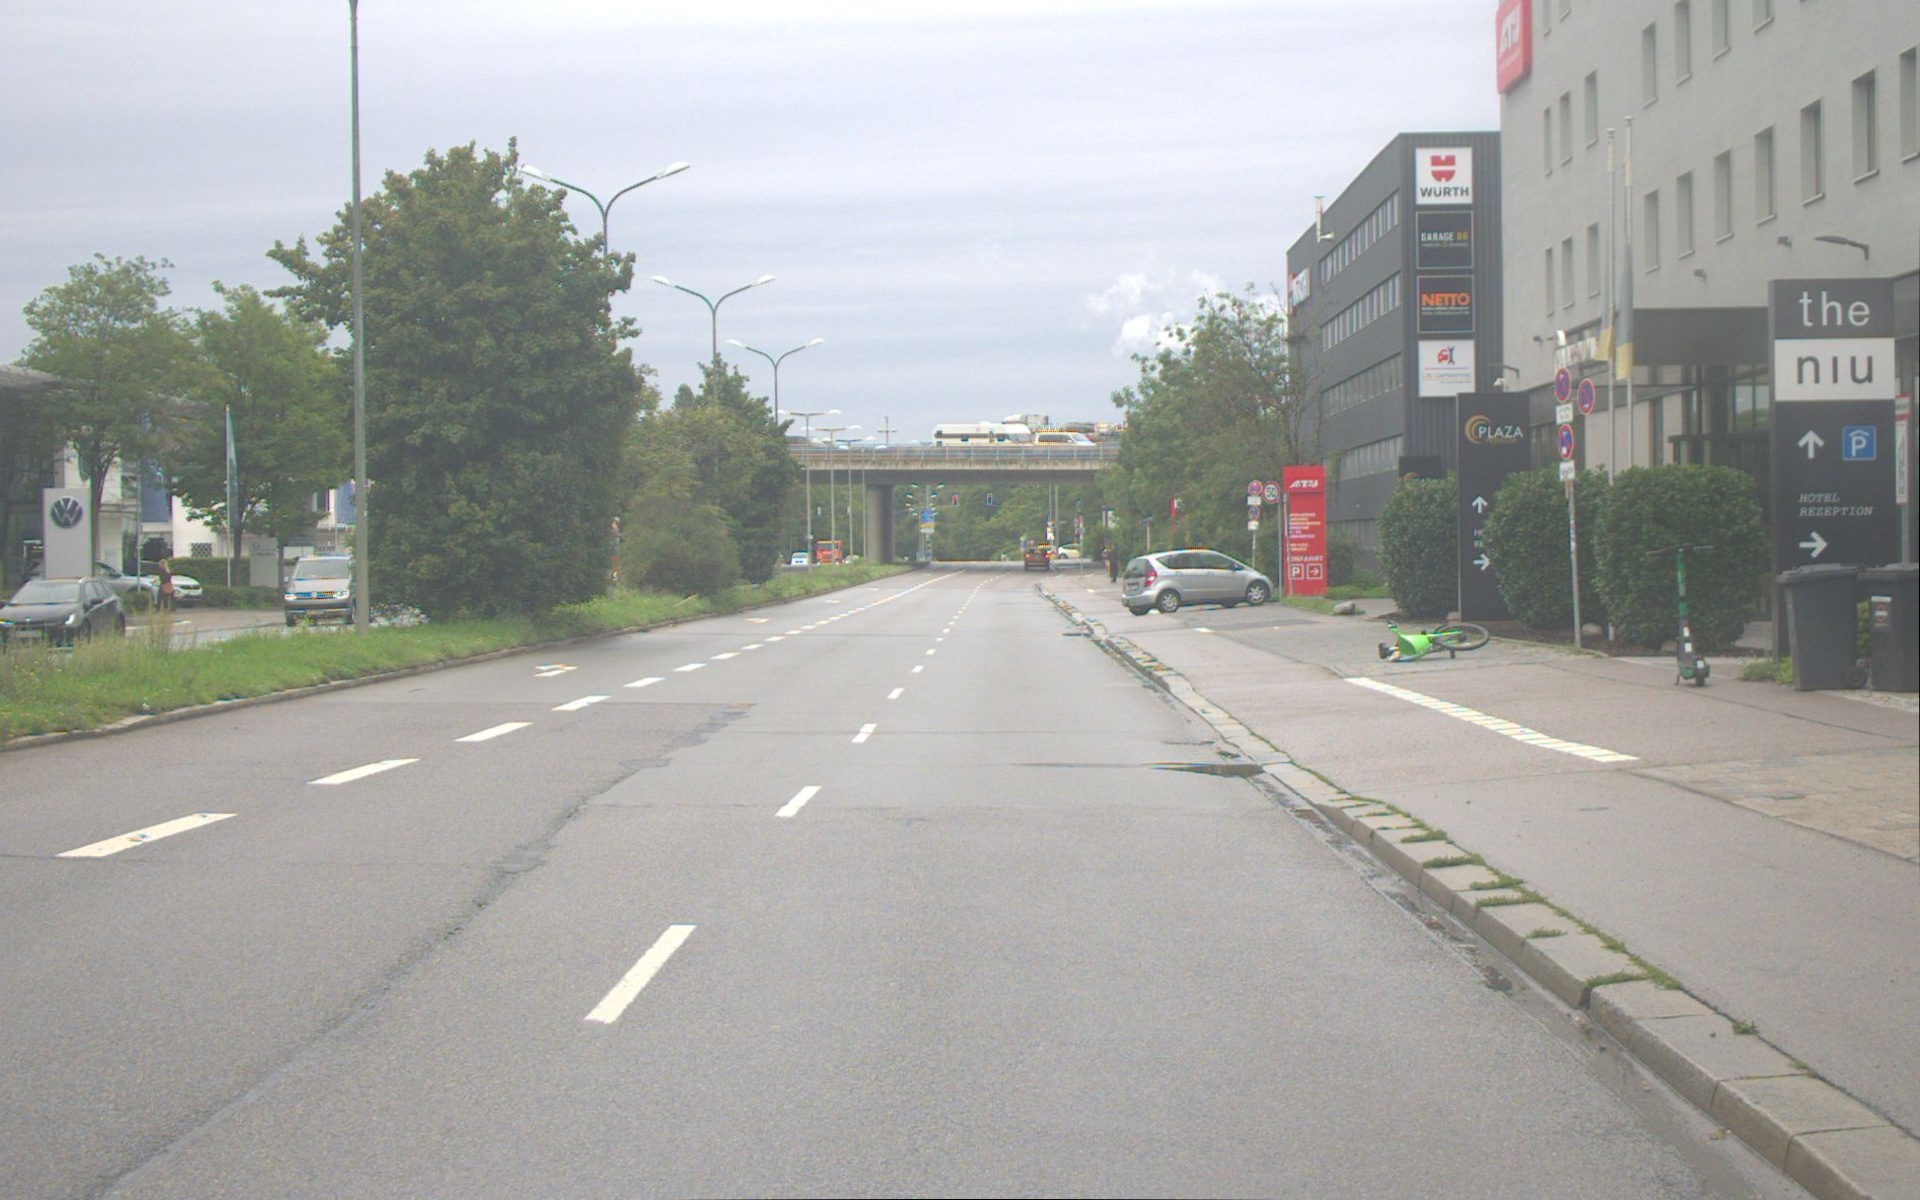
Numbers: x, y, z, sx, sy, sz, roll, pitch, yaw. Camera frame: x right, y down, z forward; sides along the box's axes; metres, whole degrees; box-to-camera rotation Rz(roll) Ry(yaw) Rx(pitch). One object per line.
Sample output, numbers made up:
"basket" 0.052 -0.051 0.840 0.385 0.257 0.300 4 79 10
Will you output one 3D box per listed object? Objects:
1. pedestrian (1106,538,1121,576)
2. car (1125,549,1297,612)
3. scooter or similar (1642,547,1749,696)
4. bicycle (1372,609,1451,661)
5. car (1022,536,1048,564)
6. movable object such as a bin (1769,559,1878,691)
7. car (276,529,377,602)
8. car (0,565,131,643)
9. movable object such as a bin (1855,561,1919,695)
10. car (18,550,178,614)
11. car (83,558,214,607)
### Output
"pedestrian" 7.608 -2.149 170.331 0.689 1.870 0.662 -2 1 0
"car" 6.407 -0.510 87.712 4.013 1.552 1.820 0 1 -28
"scooter or similar" 6.657 0.178 31.173 0.585 1.273 1.404 -5 1 1
"bicycle" 5.485 0.421 41.846 0.720 0.547 1.732 -4 1 1
"car" 5.374 -3.568 245.807 1.812 2.007 3.833 1 1 2
"movable object such as a bin" 7.297 0.204 29.065 0.737 1.074 0.655 -2 1 1
"car" -17.780 -0.974 96.636 1.993 1.954 4.325 -2 1 0
"car" -17.814 0.061 67.381 1.993 1.396 4.655 -2 1 0
"movable object such as a bin" 7.859 0.219 28.402 0.737 1.074 0.655 -2 1 1
"car" -27.167 -0.582 108.373 4.630 1.836 1.801 -2 1 -22
"car" -27.663 -0.599 117.196 3.991 1.504 1.799 -2 1 22
